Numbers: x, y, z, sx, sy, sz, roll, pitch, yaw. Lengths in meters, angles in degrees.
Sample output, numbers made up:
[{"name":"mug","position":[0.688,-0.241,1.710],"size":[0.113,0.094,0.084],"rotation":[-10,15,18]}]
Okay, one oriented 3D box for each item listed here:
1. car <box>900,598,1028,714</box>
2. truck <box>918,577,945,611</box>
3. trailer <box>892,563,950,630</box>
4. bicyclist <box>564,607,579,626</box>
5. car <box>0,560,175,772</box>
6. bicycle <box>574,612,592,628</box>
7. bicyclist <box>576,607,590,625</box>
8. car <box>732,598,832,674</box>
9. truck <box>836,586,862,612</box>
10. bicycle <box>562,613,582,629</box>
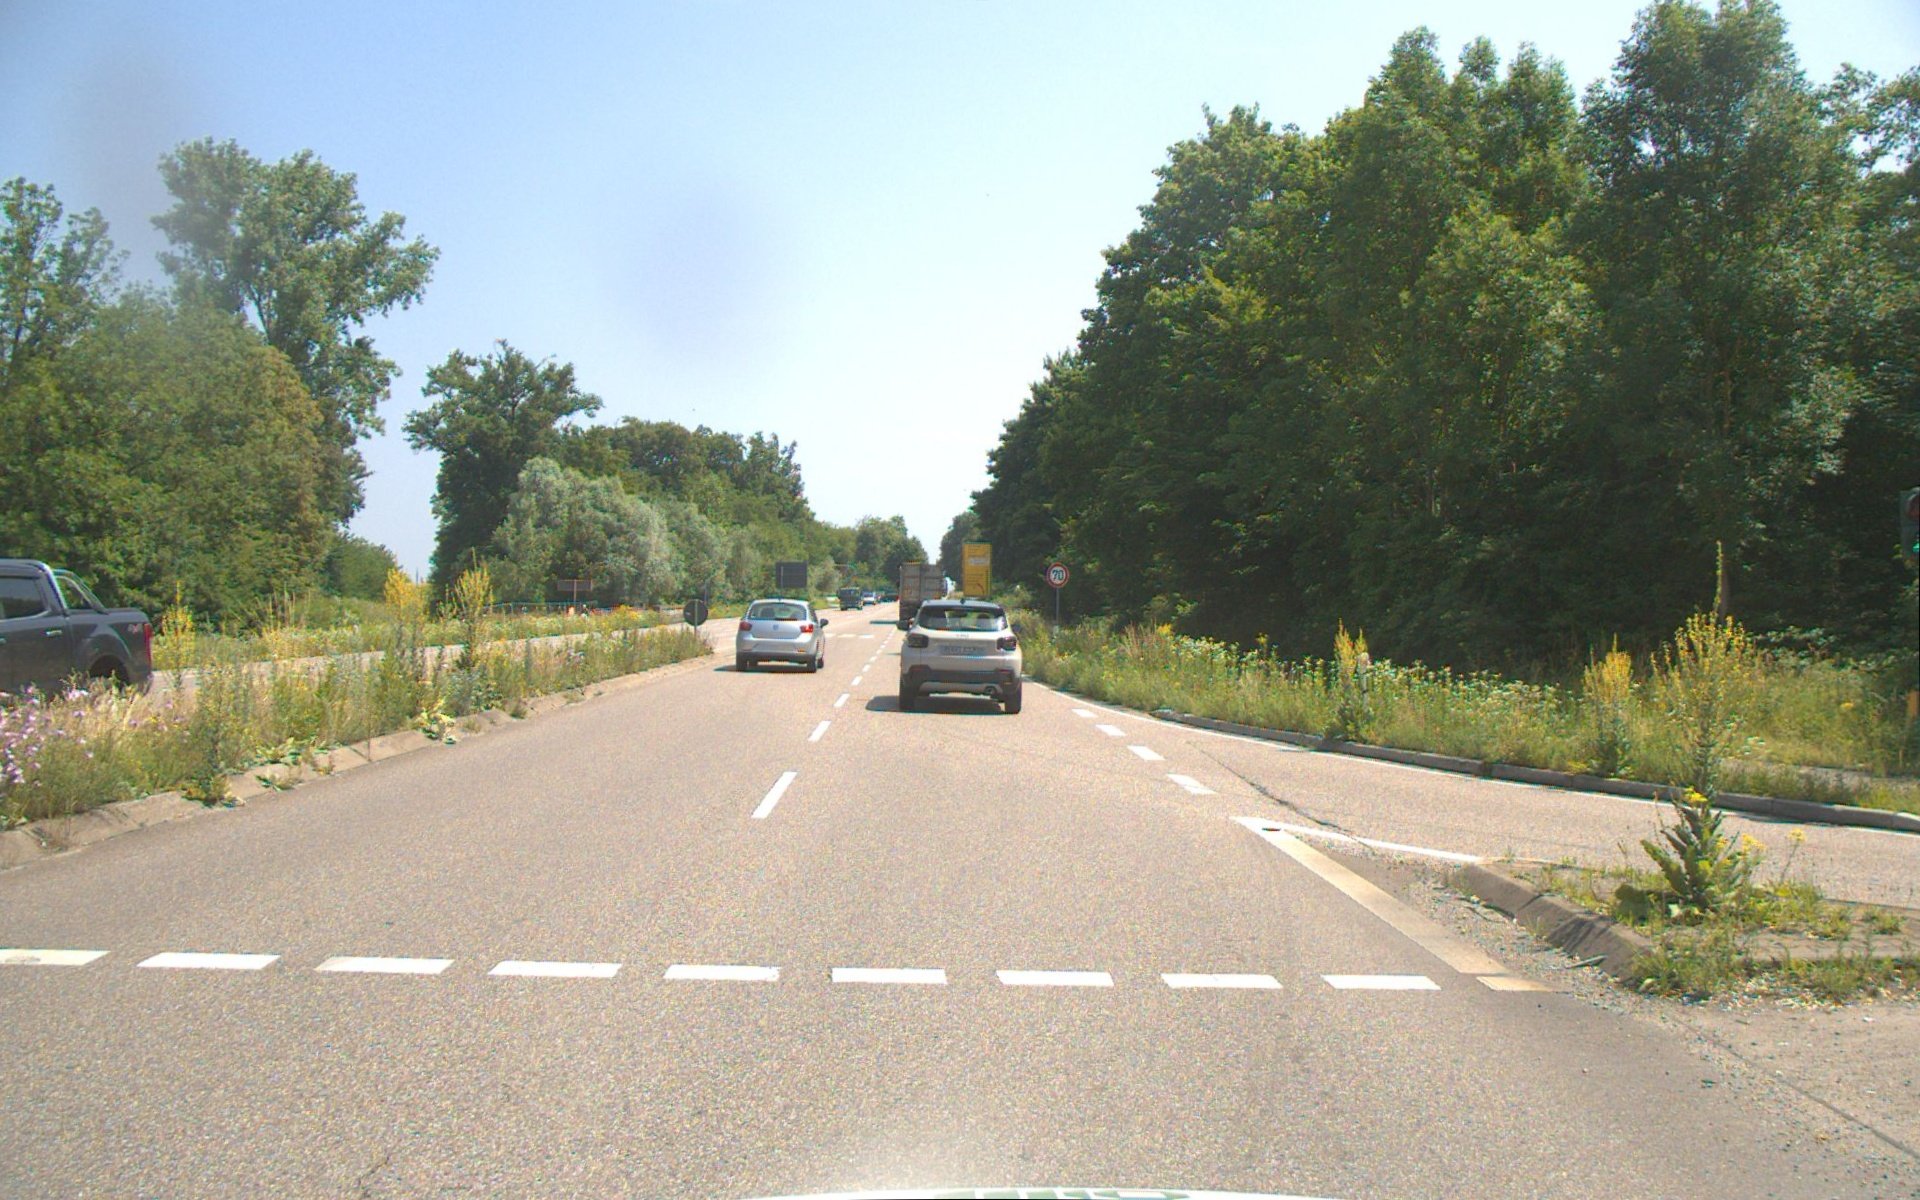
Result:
[{"name":"car","position":[0.057,0.768,24.602],"size":[1.731,1.562,4.000],"rotation":[1,0,0]},{"name":"truck","position":[-3.827,-0.776,220.122],"size":[3.426,4.261,10.780],"rotation":[1,-1,-1]},{"name":"trailer","position":[-2.421,-0.150,106.944],"size":[3.313,4.058,10.803],"rotation":[1,-1,0]},{"name":"bicyclist","position":[-25.514,1.070,108.586],"size":[0.741,1.216,0.592],"rotation":[-1,0,10]},{"name":"car","position":[-8.716,0.553,13.574],"size":[1.953,1.707,5.365],"rotation":[-1,0,0]},{"name":"bicycle","position":[-25.600,1.357,112.385],"size":[0.591,1.023,1.557],"rotation":[-1,-1,10]},{"name":"bicyclist","position":[-25.578,1.093,112.283],"size":[0.719,1.216,0.592],"rotation":[-1,-1,10]},{"name":"car","position":[-3.643,0.715,34.375],"size":[1.631,1.455,3.828],"rotation":[1,0,0]},{"name":"truck","position":[-12.444,-0.107,186.233],"size":[2.404,2.703,6.490],"rotation":[-3,0,0]},{"name":"bicycle","position":[-25.492,1.360,108.631],"size":[0.661,1.023,1.802],"rotation":[-1,0,9]}]
